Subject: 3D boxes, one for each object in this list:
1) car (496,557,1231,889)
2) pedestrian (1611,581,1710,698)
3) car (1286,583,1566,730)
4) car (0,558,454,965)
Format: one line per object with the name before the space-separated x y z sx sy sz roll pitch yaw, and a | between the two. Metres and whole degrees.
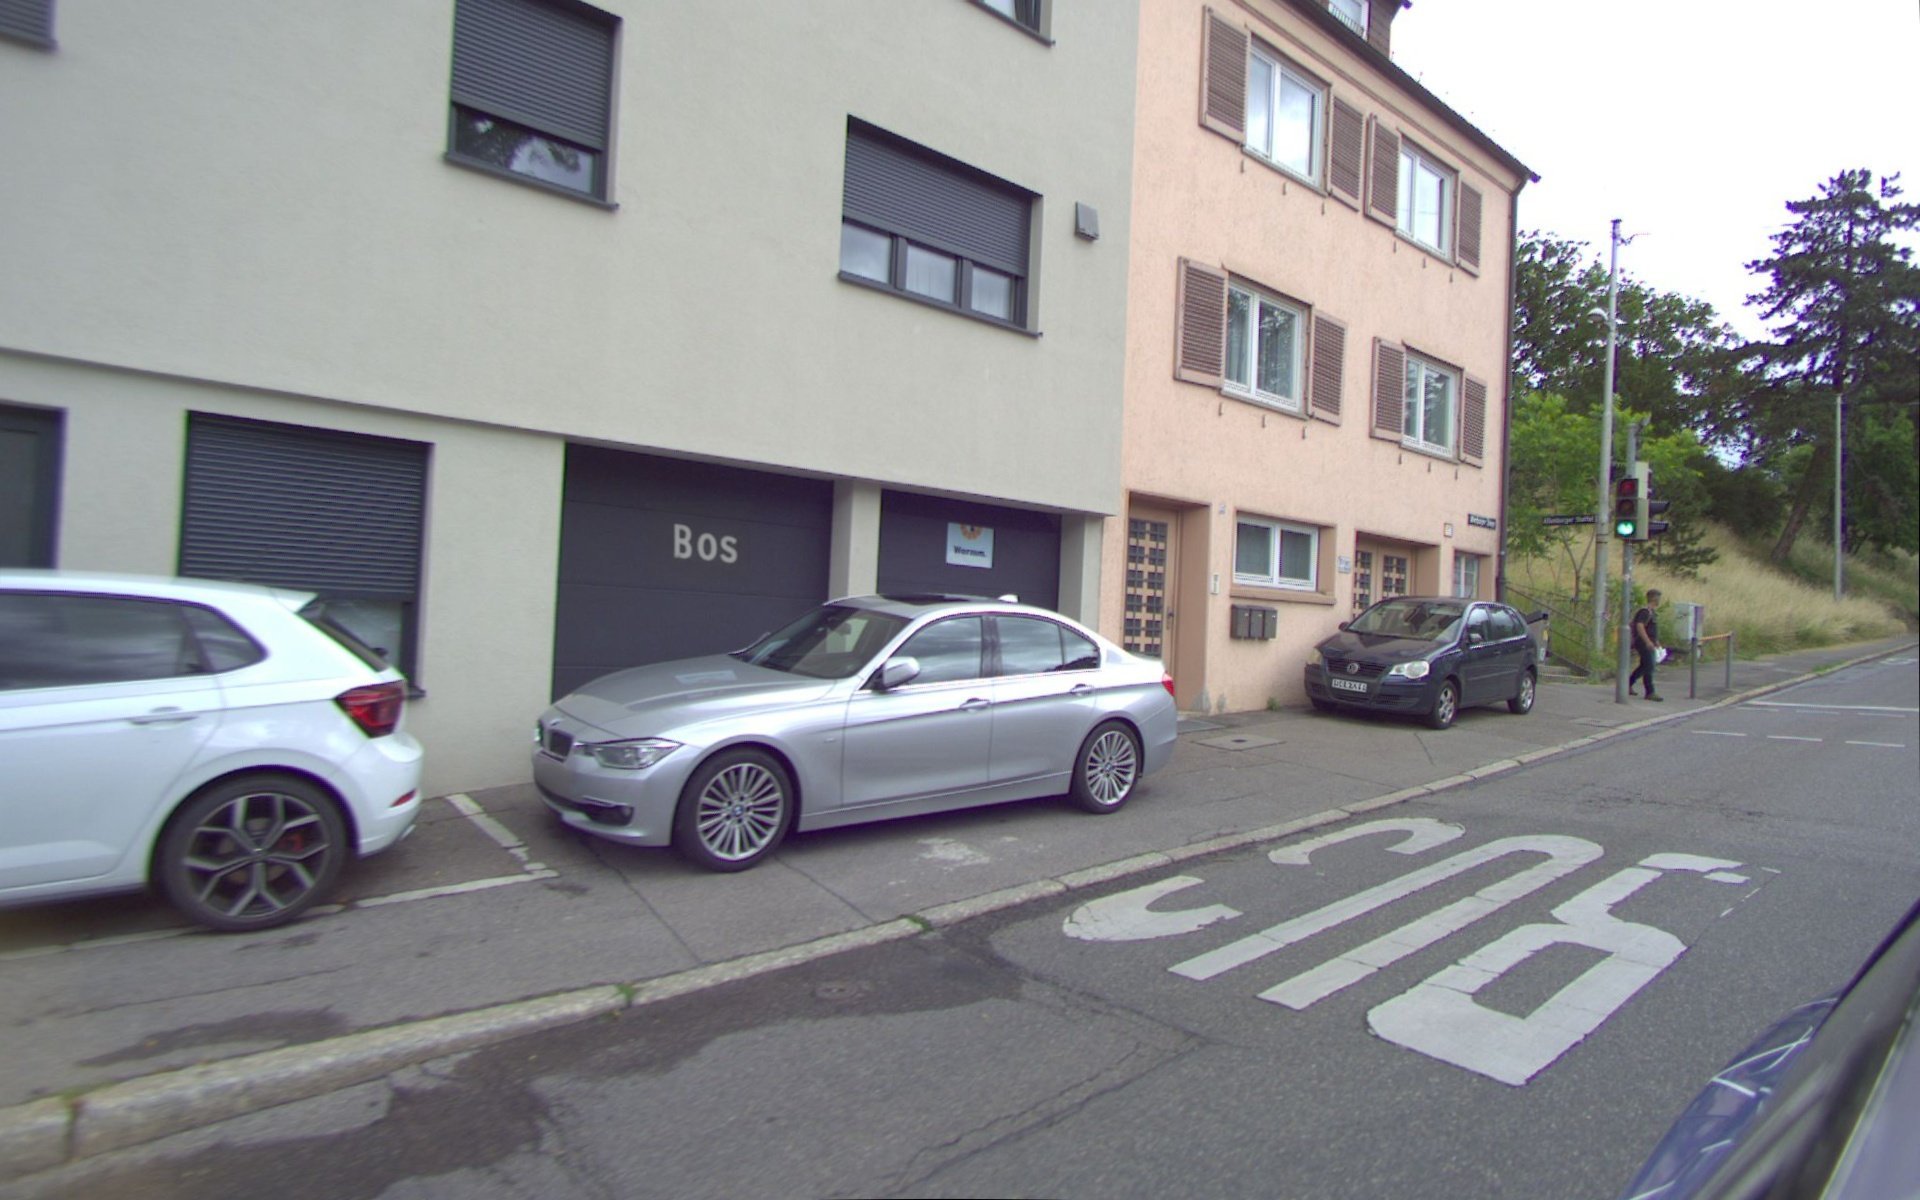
car | -0.400 0.599 6.818 4.631 1.468 1.800 2 3 -38
pedestrian | 10.881 0.583 15.757 0.858 1.716 0.888 3 2 9
car | 5.968 0.602 12.766 3.930 1.468 1.685 0 4 -41
car | -4.376 0.551 4.049 3.930 1.441 1.800 1 2 -37
